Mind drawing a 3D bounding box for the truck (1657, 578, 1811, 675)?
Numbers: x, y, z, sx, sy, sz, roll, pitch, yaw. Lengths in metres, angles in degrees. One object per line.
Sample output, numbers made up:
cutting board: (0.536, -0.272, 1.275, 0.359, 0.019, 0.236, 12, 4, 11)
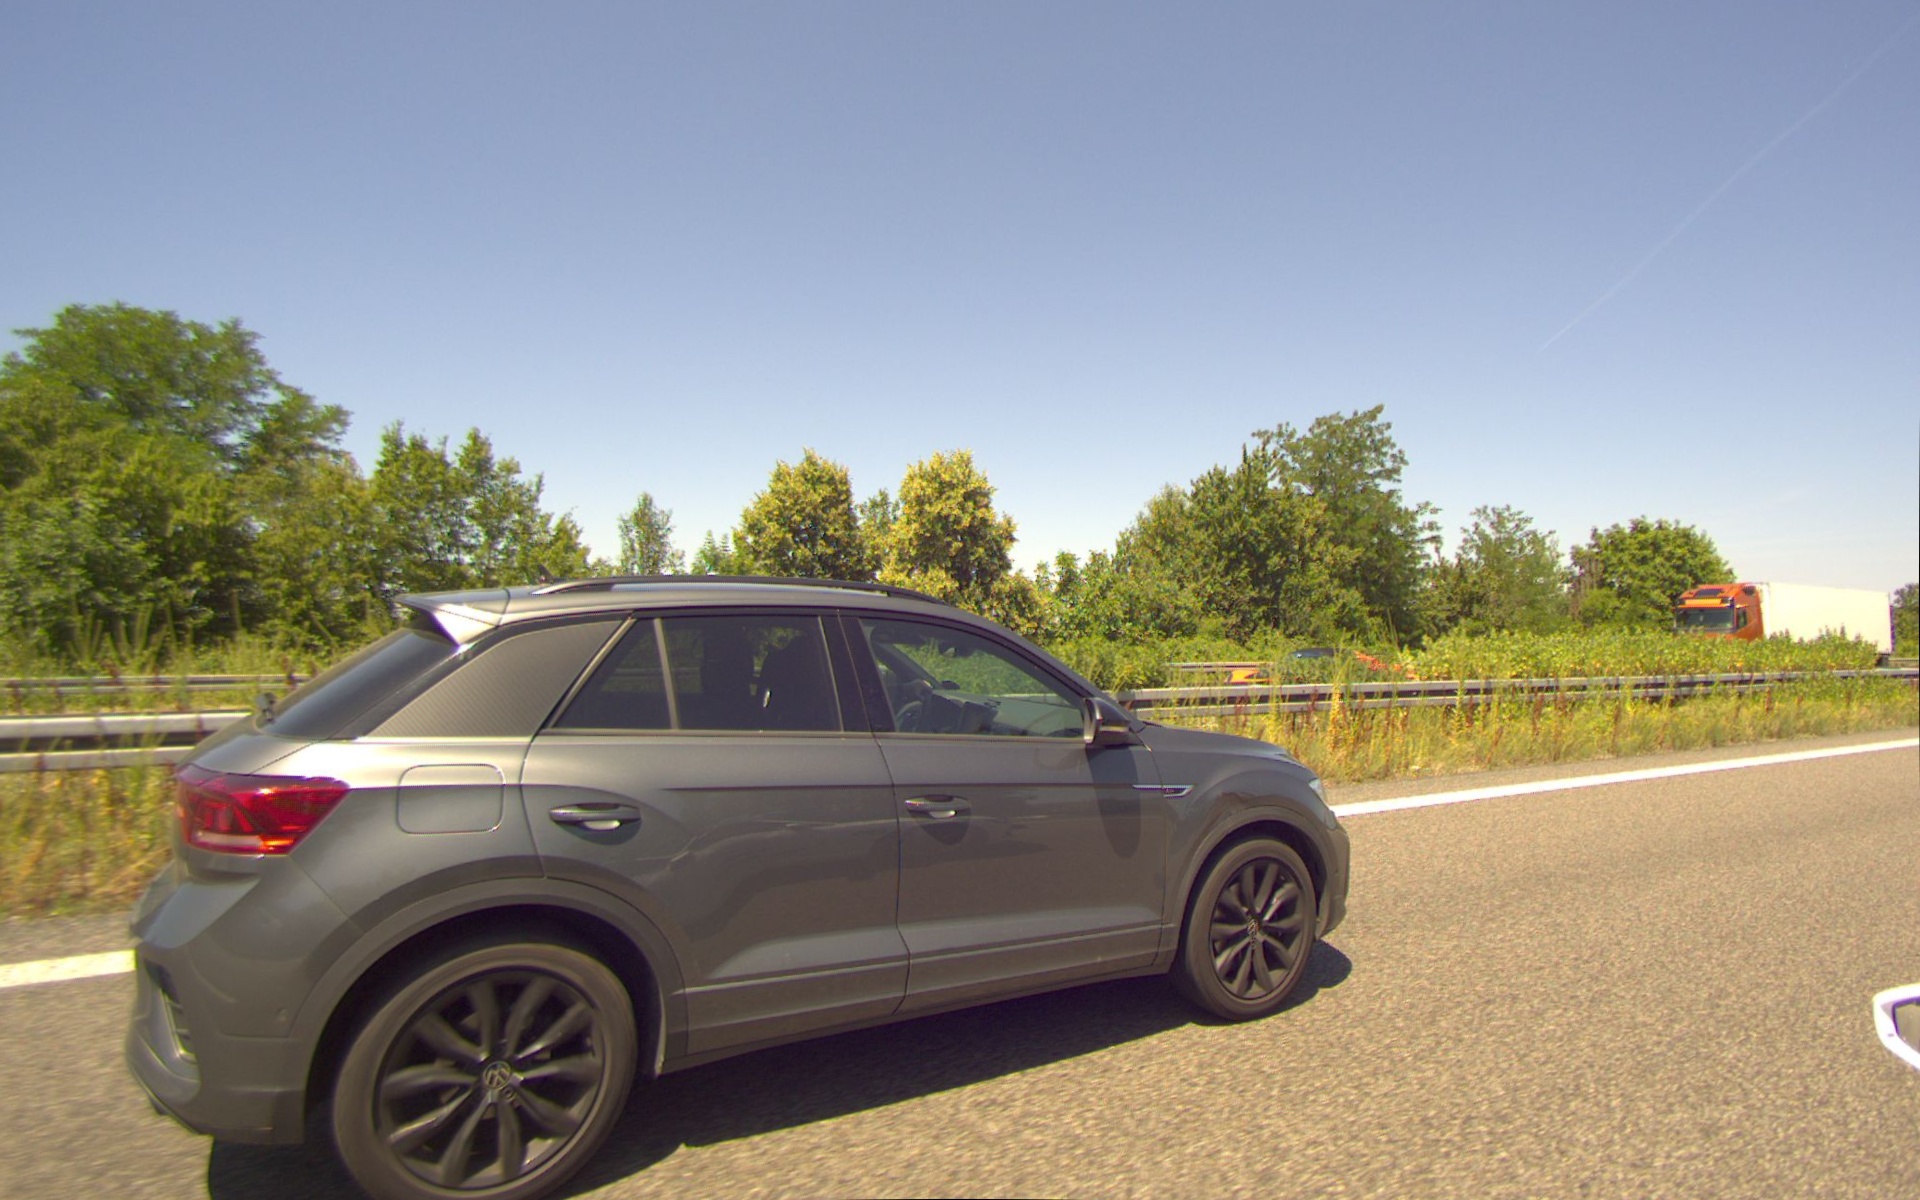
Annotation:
truck: (34.188, 1.235, 44.329, 7.328, 3.986, 2.720, 2, -4, -30)

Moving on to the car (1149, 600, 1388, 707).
car: (5.577, 0.929, 18.082, 3.953, 1.727, 1.984, 1, -2, -30)

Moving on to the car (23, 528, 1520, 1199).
car: (-0.095, 0.718, 3.958, 4.952, 1.662, 1.870, 0, 0, -32)

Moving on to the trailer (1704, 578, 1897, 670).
trailer: (40.238, 1.266, 47.852, 12.910, 3.986, 2.720, 2, -4, -30)
